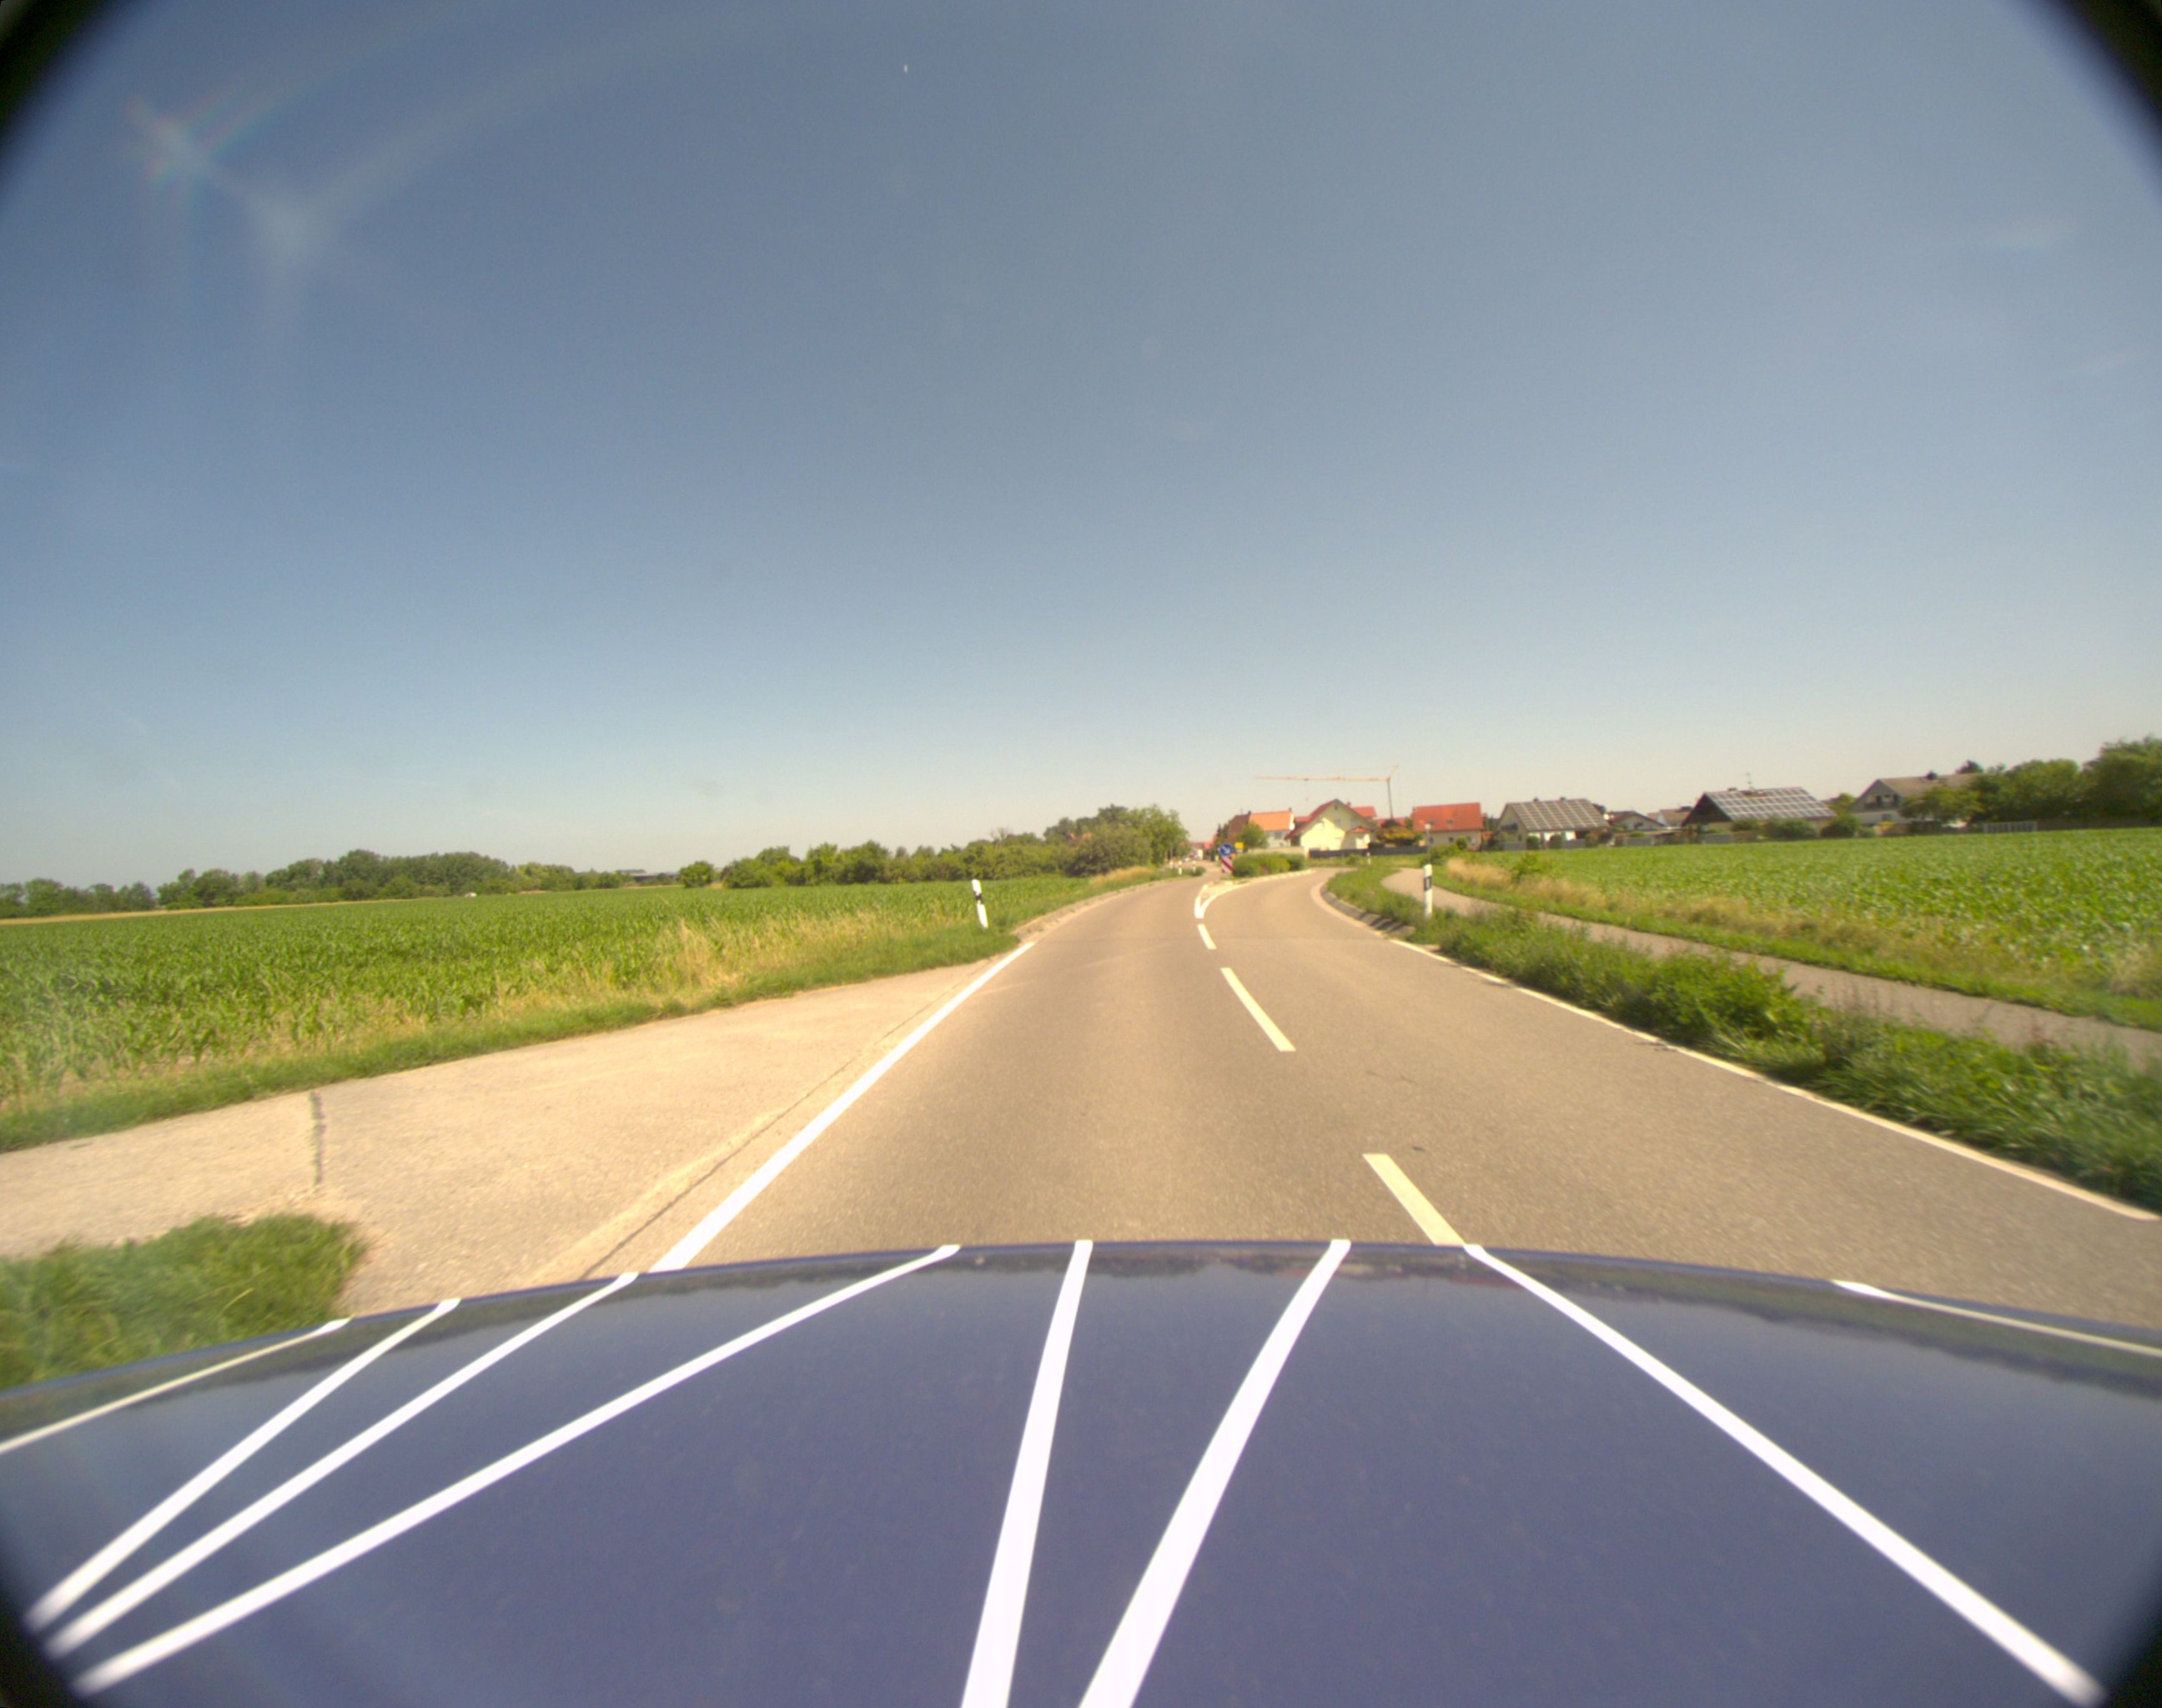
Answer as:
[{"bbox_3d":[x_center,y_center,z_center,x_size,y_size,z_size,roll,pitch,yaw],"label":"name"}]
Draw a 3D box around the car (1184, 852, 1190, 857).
[{"bbox_3d":[31.955,0.119,229.639,1.732,1.379,3.534,-3,0,9],"label":"car"}]
